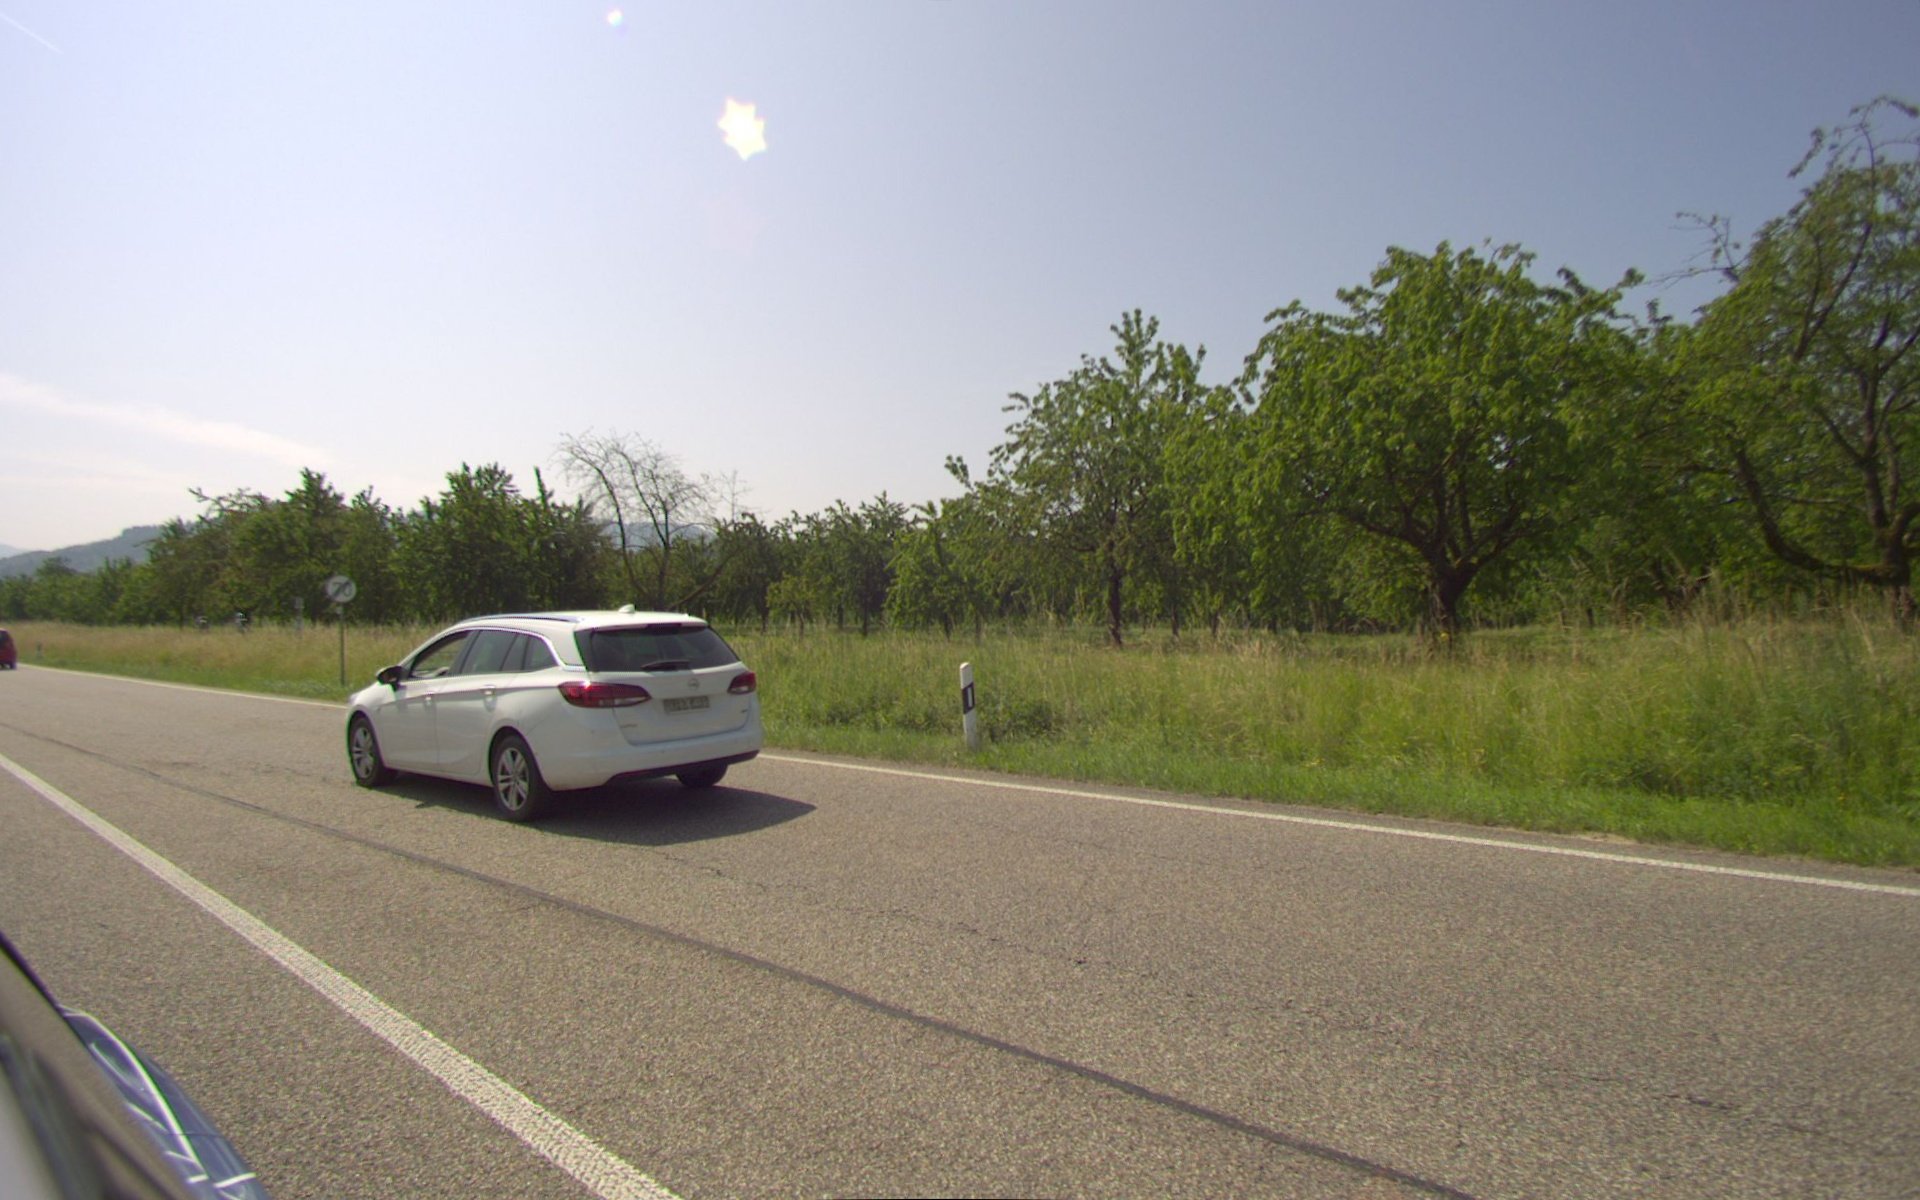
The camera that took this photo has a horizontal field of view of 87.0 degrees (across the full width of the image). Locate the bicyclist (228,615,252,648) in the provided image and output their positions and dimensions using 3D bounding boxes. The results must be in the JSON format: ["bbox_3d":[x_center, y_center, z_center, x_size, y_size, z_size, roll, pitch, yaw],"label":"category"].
[{"bbox_3d":[-33.565,1.465,47.164,0.863,1.465,0.732,0,0,41],"label":"bicyclist"}]

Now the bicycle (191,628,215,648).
[{"bbox_3d":[-40.242,2.015,53.765,1.955,0.997,0.642,0,0,42],"label":"bicycle"}]

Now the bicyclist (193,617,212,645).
[{"bbox_3d":[-40.245,1.632,53.756,0.863,1.425,0.635,0,0,41],"label":"bicyclist"}]

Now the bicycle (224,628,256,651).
[{"bbox_3d":[-33.556,1.837,47.161,2.224,0.997,0.732,0,1,42],"label":"bicycle"}]

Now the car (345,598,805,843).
[{"bbox_3d":[-3.292,0.794,8.264,4.132,1.505,1.658,-2,0,39],"label":"car"}]

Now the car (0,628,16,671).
[{"bbox_3d":[-35.167,1.787,36.205,3.618,1.468,1.609,-2,0,40],"label":"car"}]
